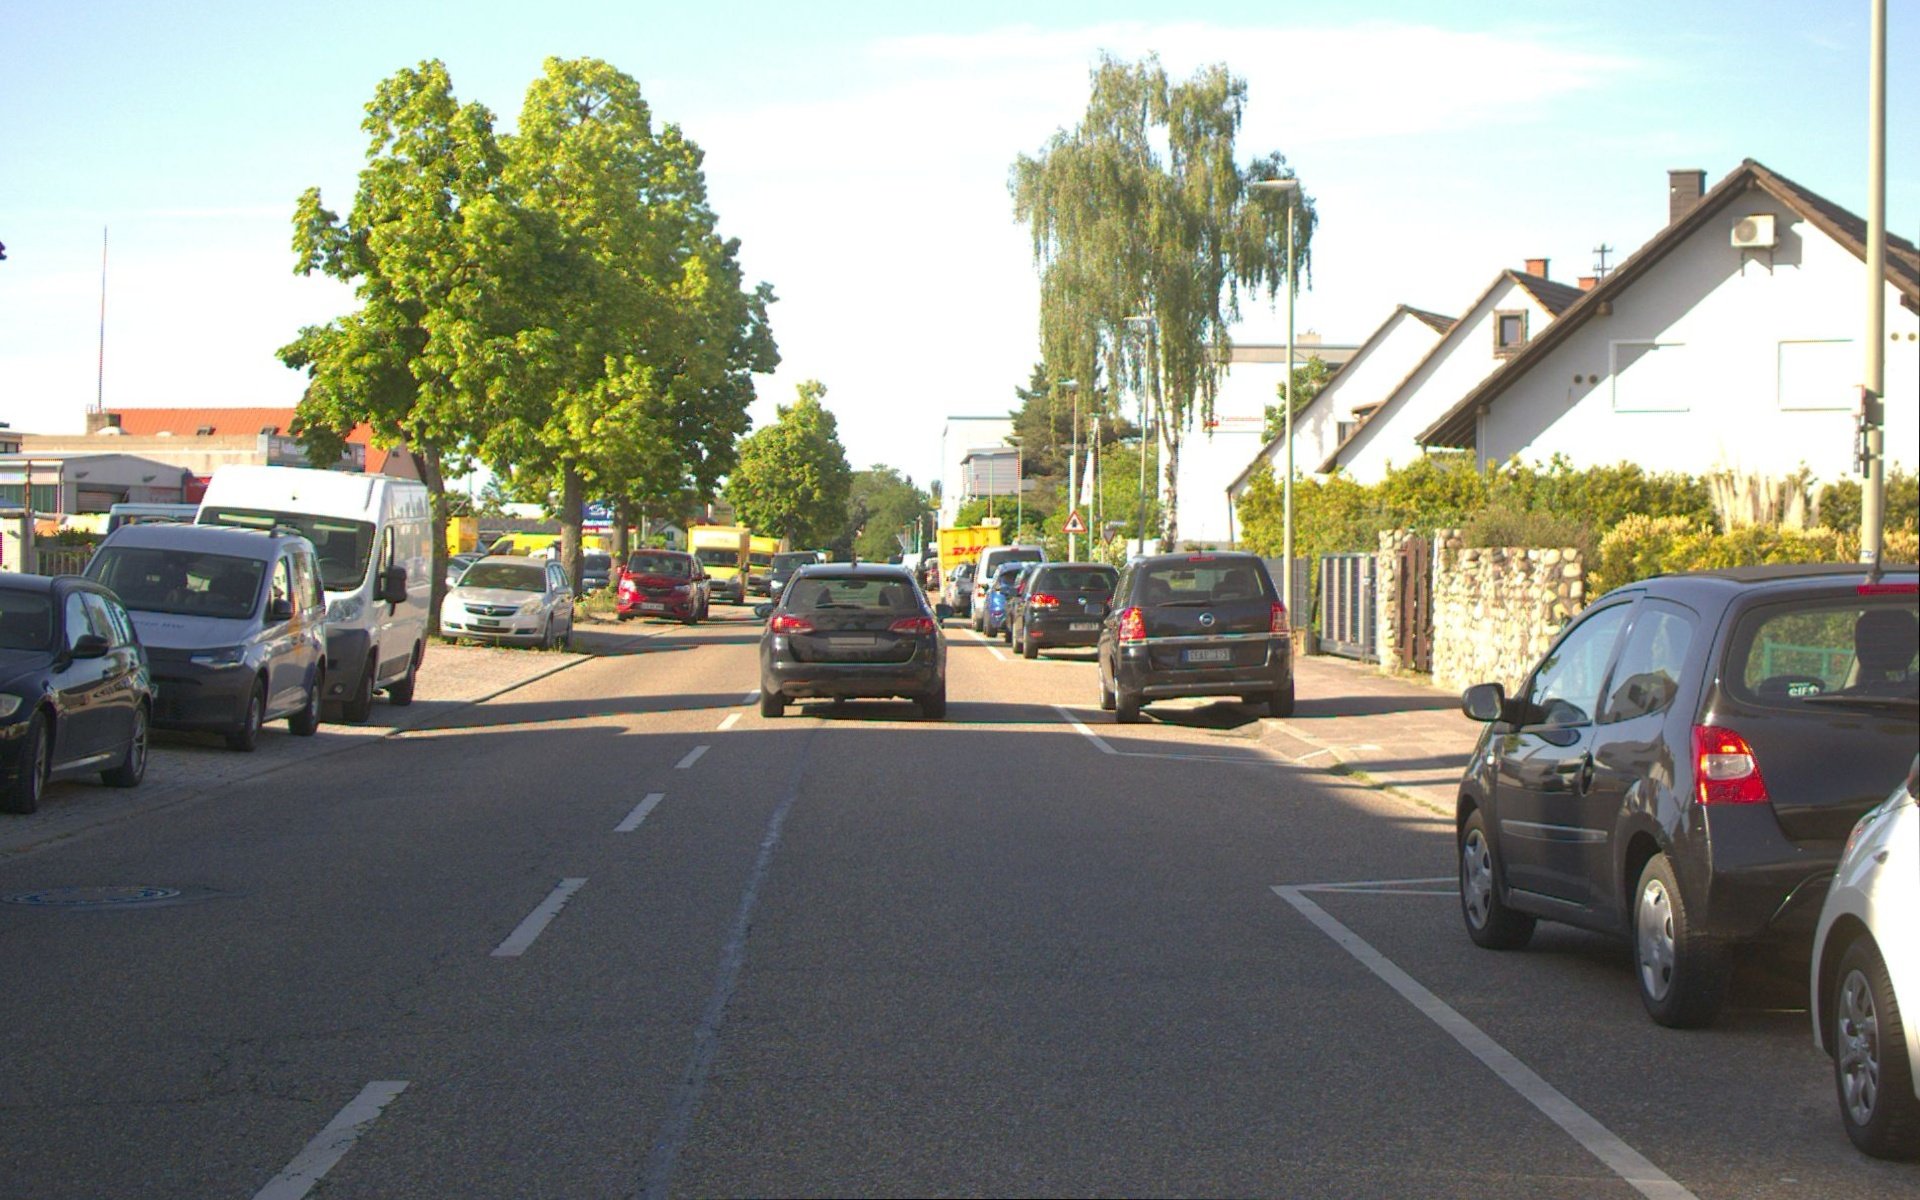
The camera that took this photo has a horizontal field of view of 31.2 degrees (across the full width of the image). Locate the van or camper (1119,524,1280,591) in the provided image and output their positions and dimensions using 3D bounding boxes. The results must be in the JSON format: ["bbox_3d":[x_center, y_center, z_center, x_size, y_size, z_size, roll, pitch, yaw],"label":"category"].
[{"bbox_3d":[9.208,-1.622,132.056,5.812,2.532,2.290,0,0,-27],"label":"van or camper"}]

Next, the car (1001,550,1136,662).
[{"bbox_3d":[1.669,0.069,53.858,1.775,1.653,3.817,1,1,-3],"label":"car"}]

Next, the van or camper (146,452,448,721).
[{"bbox_3d":[-6.739,-0.167,35.582,2.122,2.481,5.556,2,1,-2],"label":"van or camper"}]

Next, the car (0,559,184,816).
[{"bbox_3d":[-6.250,0.475,22.020,1.609,1.430,4.313,2,1,-1],"label":"car"}]

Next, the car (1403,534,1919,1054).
[{"bbox_3d":[2.853,0.584,12.552,1.656,1.595,3.817,1,1,-5],"label":"car"}]

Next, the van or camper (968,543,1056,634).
[{"bbox_3d":[1.087,-0.260,73.815,1.718,1.884,4.180,1,0,-1],"label":"van or camper"}]

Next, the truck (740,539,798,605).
[{"bbox_3d":[-8.956,-1.312,161.673,2.402,2.973,6.374,2,0,-1],"label":"truck"}]

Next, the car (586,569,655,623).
[{"bbox_3d":[-10.607,-0.103,107.601,1.861,1.584,4.276,0,-1,-2],"label":"car"}]

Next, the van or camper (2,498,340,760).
[{"bbox_3d":[-6.544,0.202,28.975,1.878,2.007,4.279,1,1,-1],"label":"van or camper"}]

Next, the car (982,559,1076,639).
[{"bbox_3d":[1.337,-0.036,67.878,1.718,1.499,3.563,1,0,-1],"label":"car"}]

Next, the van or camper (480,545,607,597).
[{"bbox_3d":[-16.308,-1.135,134.782,4.544,2.007,2.250,0,0,6],"label":"van or camper"}]

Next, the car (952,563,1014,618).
[{"bbox_3d":[0.689,-0.290,101.158,1.674,1.537,4.043,1,1,2],"label":"car"}]

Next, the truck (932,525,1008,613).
[{"bbox_3d":[0.308,-1.057,120.124,2.402,2.927,7.016,-2,0,-1],"label":"truck"}]

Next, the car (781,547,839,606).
[{"bbox_3d":[-5.287,-0.830,121.773,1.894,2.024,4.818,-1,0,-1],"label":"car"}]

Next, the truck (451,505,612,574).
[{"bbox_3d":[-17.181,-2.424,137.994,5.924,2.559,2.223,2,1,11],"label":"truck"}]

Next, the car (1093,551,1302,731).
[{"bbox_3d":[2.312,0.359,34.431,1.776,1.653,4.303,1,1,0],"label":"car"}]

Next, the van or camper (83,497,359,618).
[{"bbox_3d":[-14.798,-0.840,68.939,4.895,2.312,2.242,1,0,12],"label":"van or camper"}]

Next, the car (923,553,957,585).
[{"bbox_3d":[-1.183,-1.804,200.225,1.919,1.819,4.080,1,0,-1],"label":"car"}]

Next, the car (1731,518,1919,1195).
[{"bbox_3d":[3.171,0.625,7.695,1.724,1.595,3.817,1,1,-5],"label":"car"}]

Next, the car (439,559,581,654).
[{"bbox_3d":[-7.377,0.073,56.697,1.687,1.430,4.209,3,1,1],"label":"car"}]

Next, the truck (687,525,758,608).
[{"bbox_3d":[-8.947,-1.245,130.067,2.402,2.973,7.246,2,0,-2],"label":"truck"}]

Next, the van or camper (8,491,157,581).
[{"bbox_3d":[-27.401,-1.965,107.607,2.165,2.706,6.267,1,0,9],"label":"van or camper"}]

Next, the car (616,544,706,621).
[{"bbox_3d":[-7.257,-0.436,83.803,1.803,1.746,4.342,2,0,-1],"label":"car"}]

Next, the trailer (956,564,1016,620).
[{"bbox_3d":[0.710,-0.233,95.995,1.627,1.533,3.198,1,1,0],"label":"trailer"}]

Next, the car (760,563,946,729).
[{"bbox_3d":[-0.998,0.404,33.644,1.711,1.527,3.687,0,1,0],"label":"car"}]
